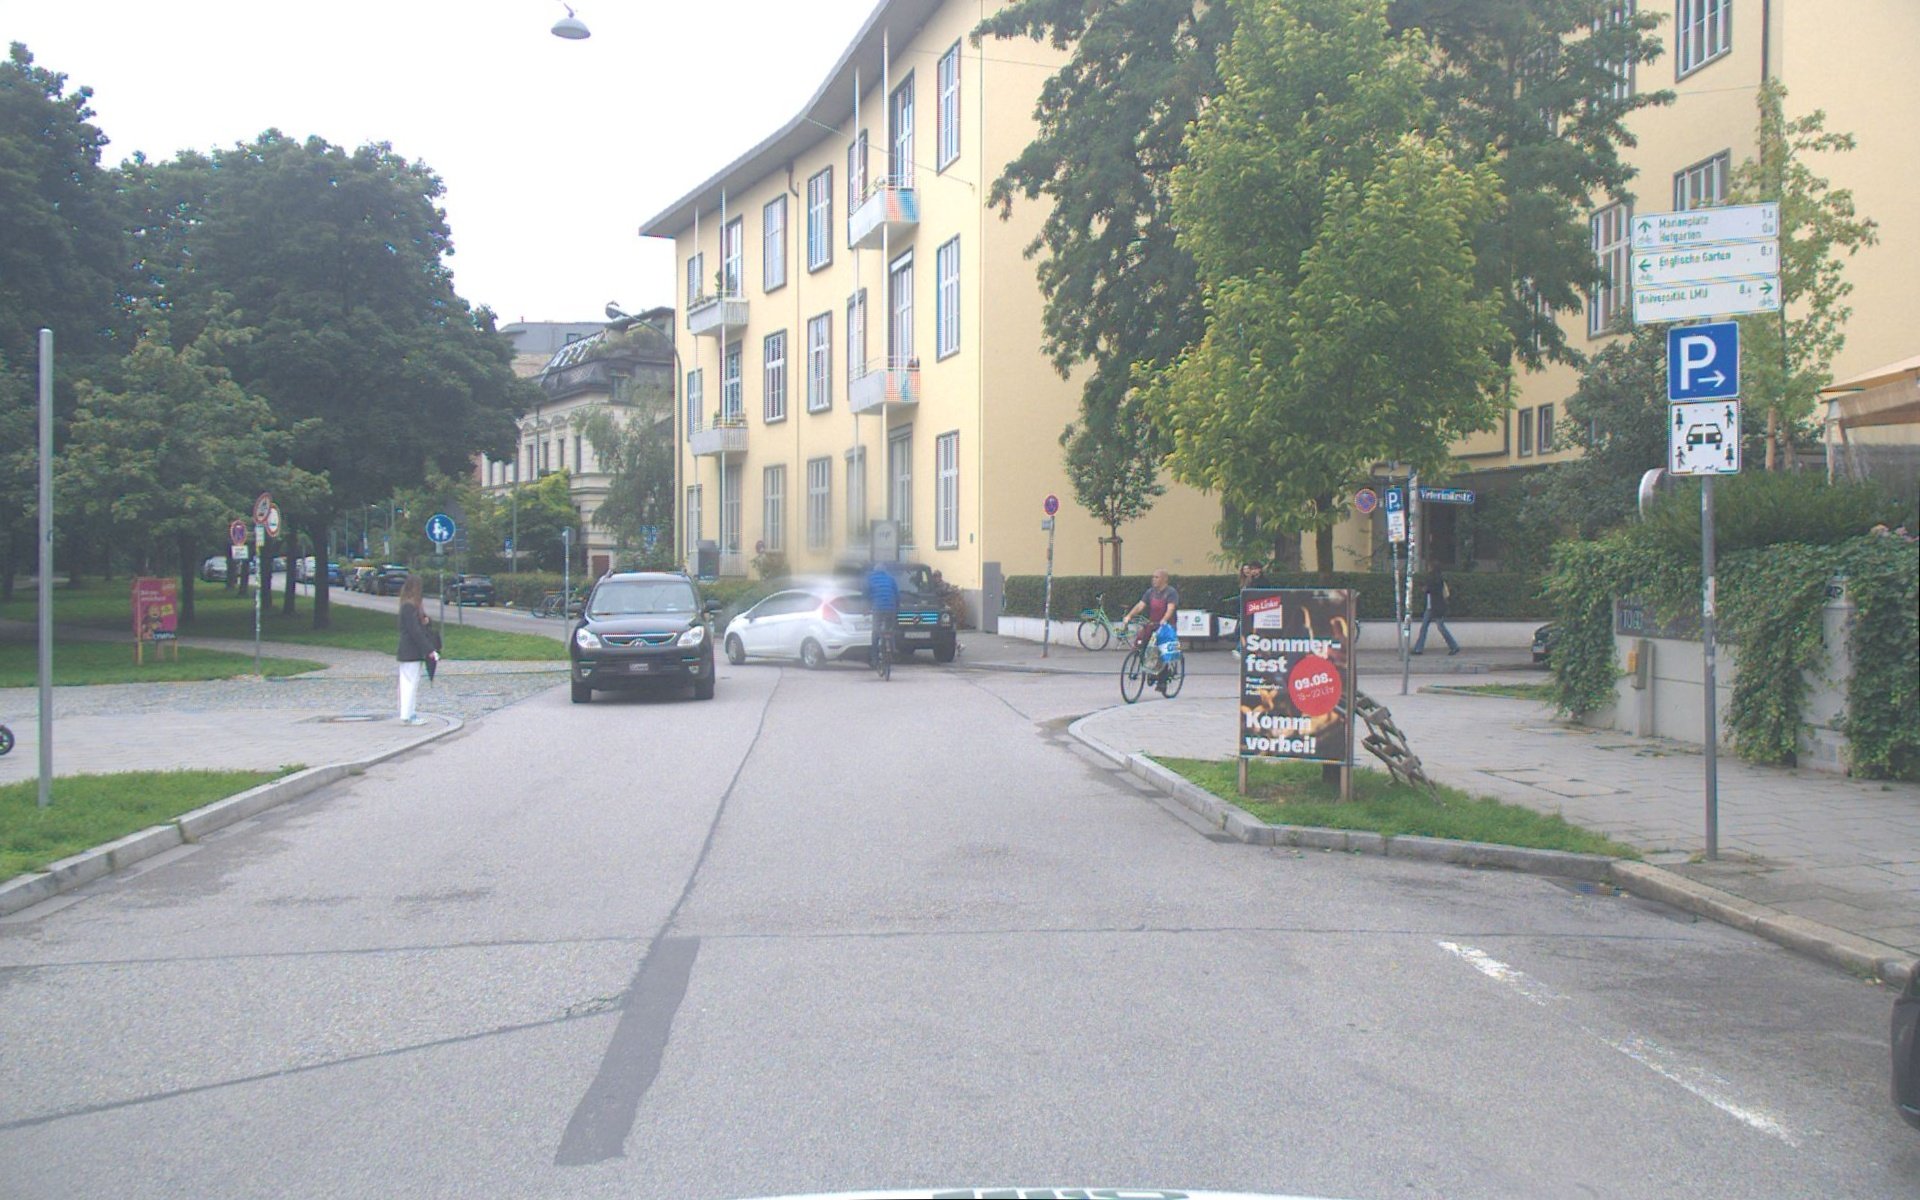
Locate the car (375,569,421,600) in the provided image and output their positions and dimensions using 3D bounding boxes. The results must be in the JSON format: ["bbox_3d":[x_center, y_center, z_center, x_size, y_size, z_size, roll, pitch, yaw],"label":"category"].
[{"bbox_3d":[-31.805,-0.875,93.574,1.773,1.709,3.961,-1,1,-29],"label":"car"}]

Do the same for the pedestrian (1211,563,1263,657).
[{"bbox_3d":[5.296,0.174,31.639,0.810,1.776,0.740,0,1,-5],"label":"pedestrian"}]

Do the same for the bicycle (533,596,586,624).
[{"bbox_3d":[-15.349,0.385,63.395,1.961,1.046,0.609,0,0,-42],"label":"bicycle"}]

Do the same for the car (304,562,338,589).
[{"bbox_3d":[-48.526,-1.869,125.521,2.040,2.000,4.937,-1,1,-25],"label":"car"}]

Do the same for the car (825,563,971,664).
[{"bbox_3d":[-1.346,0.207,33.891,1.844,1.920,4.596,-1,1,-18],"label":"car"}]

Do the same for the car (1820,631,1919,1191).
[{"bbox_3d":[3.520,0.872,2.753,1.682,1.419,3.994,3,0,-7],"label":"car"}]

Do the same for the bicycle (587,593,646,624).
[{"bbox_3d":[-11.818,0.278,56.987,1.961,1.046,0.609,0,0,-42],"label":"bicycle"}]

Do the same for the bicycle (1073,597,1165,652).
[{"bbox_3d":[3.284,0.516,34.244,1.913,1.103,0.526,-2,-1,39],"label":"bicycle"}]

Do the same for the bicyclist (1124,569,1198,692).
[{"bbox_3d":[2.759,0.392,22.600,0.857,1.637,1.050,0,1,16],"label":"bicyclist"}]

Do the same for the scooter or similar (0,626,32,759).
[{"bbox_3d":[-9.212,0.855,15.278,0.430,1.234,1.052,-1,-1,27],"label":"scooter or similar"}]

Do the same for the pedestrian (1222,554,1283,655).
[{"bbox_3d":[5.408,0.075,30.585,0.970,1.840,0.659,0,1,-5],"label":"pedestrian"}]

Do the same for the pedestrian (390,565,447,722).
[{"bbox_3d":[-6.142,0.480,18.787,0.533,1.726,0.664,-2,1,-16],"label":"pedestrian"}]

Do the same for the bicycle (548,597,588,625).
[{"bbox_3d":[-15.109,0.430,63.776,0.402,1.032,1.527,0,2,45],"label":"bicycle"}]

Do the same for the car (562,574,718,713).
[{"bbox_3d":[-4.450,0.516,23.566,1.956,1.749,4.606,0,1,-9],"label":"car"}]

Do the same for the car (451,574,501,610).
[{"bbox_3d":[-22.322,-0.373,76.262,1.627,1.585,3.529,-1,1,-26],"label":"car"}]

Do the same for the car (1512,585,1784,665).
[{"bbox_3d":[12.393,0.463,29.937,4.233,1.391,1.661,0,-2,-3],"label":"car"}]

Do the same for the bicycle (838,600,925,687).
[{"bbox_3d":[-1.293,0.664,26.582,0.906,1.274,2.312,0,1,-16],"label":"bicycle"}]

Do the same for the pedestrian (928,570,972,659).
[{"bbox_3d":[-0.213,0.286,33.819,0.831,1.788,0.953,-1,1,-3],"label":"pedestrian"}]

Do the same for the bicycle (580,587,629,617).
[{"bbox_3d":[-12.462,0.068,58.002,0.522,1.046,1.975,0,0,28],"label":"bicycle"}]

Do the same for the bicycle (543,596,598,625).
[{"bbox_3d":[-14.476,0.388,61.504,1.961,1.046,0.609,0,0,-42],"label":"bicycle"}]

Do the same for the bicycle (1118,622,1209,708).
[{"bbox_3d":[2.821,0.864,22.758,0.858,1.037,2.192,0,1,17],"label":"bicycle"}]

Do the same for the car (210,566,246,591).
[{"bbox_3d":[-50.448,-1.487,113.929,1.971,1.628,4.426,-1,1,-28],"label":"car"}]

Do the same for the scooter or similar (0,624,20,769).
[{"bbox_3d":[-9.020,0.848,14.619,1.233,1.266,0.395,0,-1,7],"label":"scooter or similar"}]

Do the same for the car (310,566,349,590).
[{"bbox_3d":[-44.590,-1.560,116.941,1.972,1.628,4.213,-1,1,-29],"label":"car"}]

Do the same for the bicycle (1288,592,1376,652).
[{"bbox_3d":[7.373,0.433,32.825,1.649,1.150,0.459,0,1,-6],"label":"bicycle"}]

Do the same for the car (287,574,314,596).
[{"bbox_3d":[-53.953,-1.217,135.266,1.707,1.732,3.966,-1,1,-27],"label":"car"}]

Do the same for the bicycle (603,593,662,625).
[{"bbox_3d":[-11.095,0.292,56.080,1.961,1.046,0.609,0,0,-42],"label":"bicycle"}]

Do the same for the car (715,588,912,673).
[{"bbox_3d":[-2.761,0.521,30.765,1.740,1.431,3.665,-1,1,-45],"label":"car"}]

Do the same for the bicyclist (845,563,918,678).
[{"bbox_3d":[-1.268,0.306,26.441,0.900,1.795,1.209,-1,1,-17],"label":"bicyclist"}]

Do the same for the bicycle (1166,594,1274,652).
[{"bbox_3d":[5.213,0.444,33.142,2.121,1.135,0.641,0,1,12],"label":"bicycle"}]

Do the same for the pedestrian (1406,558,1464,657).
[{"bbox_3d":[9.224,0.138,32.169,0.833,1.890,0.766,-1,0,-5],"label":"pedestrian"}]

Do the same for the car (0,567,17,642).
[{"bbox_3d":[-27.670,0.172,44.164,1.747,2.048,3.996,0,1,27],"label":"car"}]
